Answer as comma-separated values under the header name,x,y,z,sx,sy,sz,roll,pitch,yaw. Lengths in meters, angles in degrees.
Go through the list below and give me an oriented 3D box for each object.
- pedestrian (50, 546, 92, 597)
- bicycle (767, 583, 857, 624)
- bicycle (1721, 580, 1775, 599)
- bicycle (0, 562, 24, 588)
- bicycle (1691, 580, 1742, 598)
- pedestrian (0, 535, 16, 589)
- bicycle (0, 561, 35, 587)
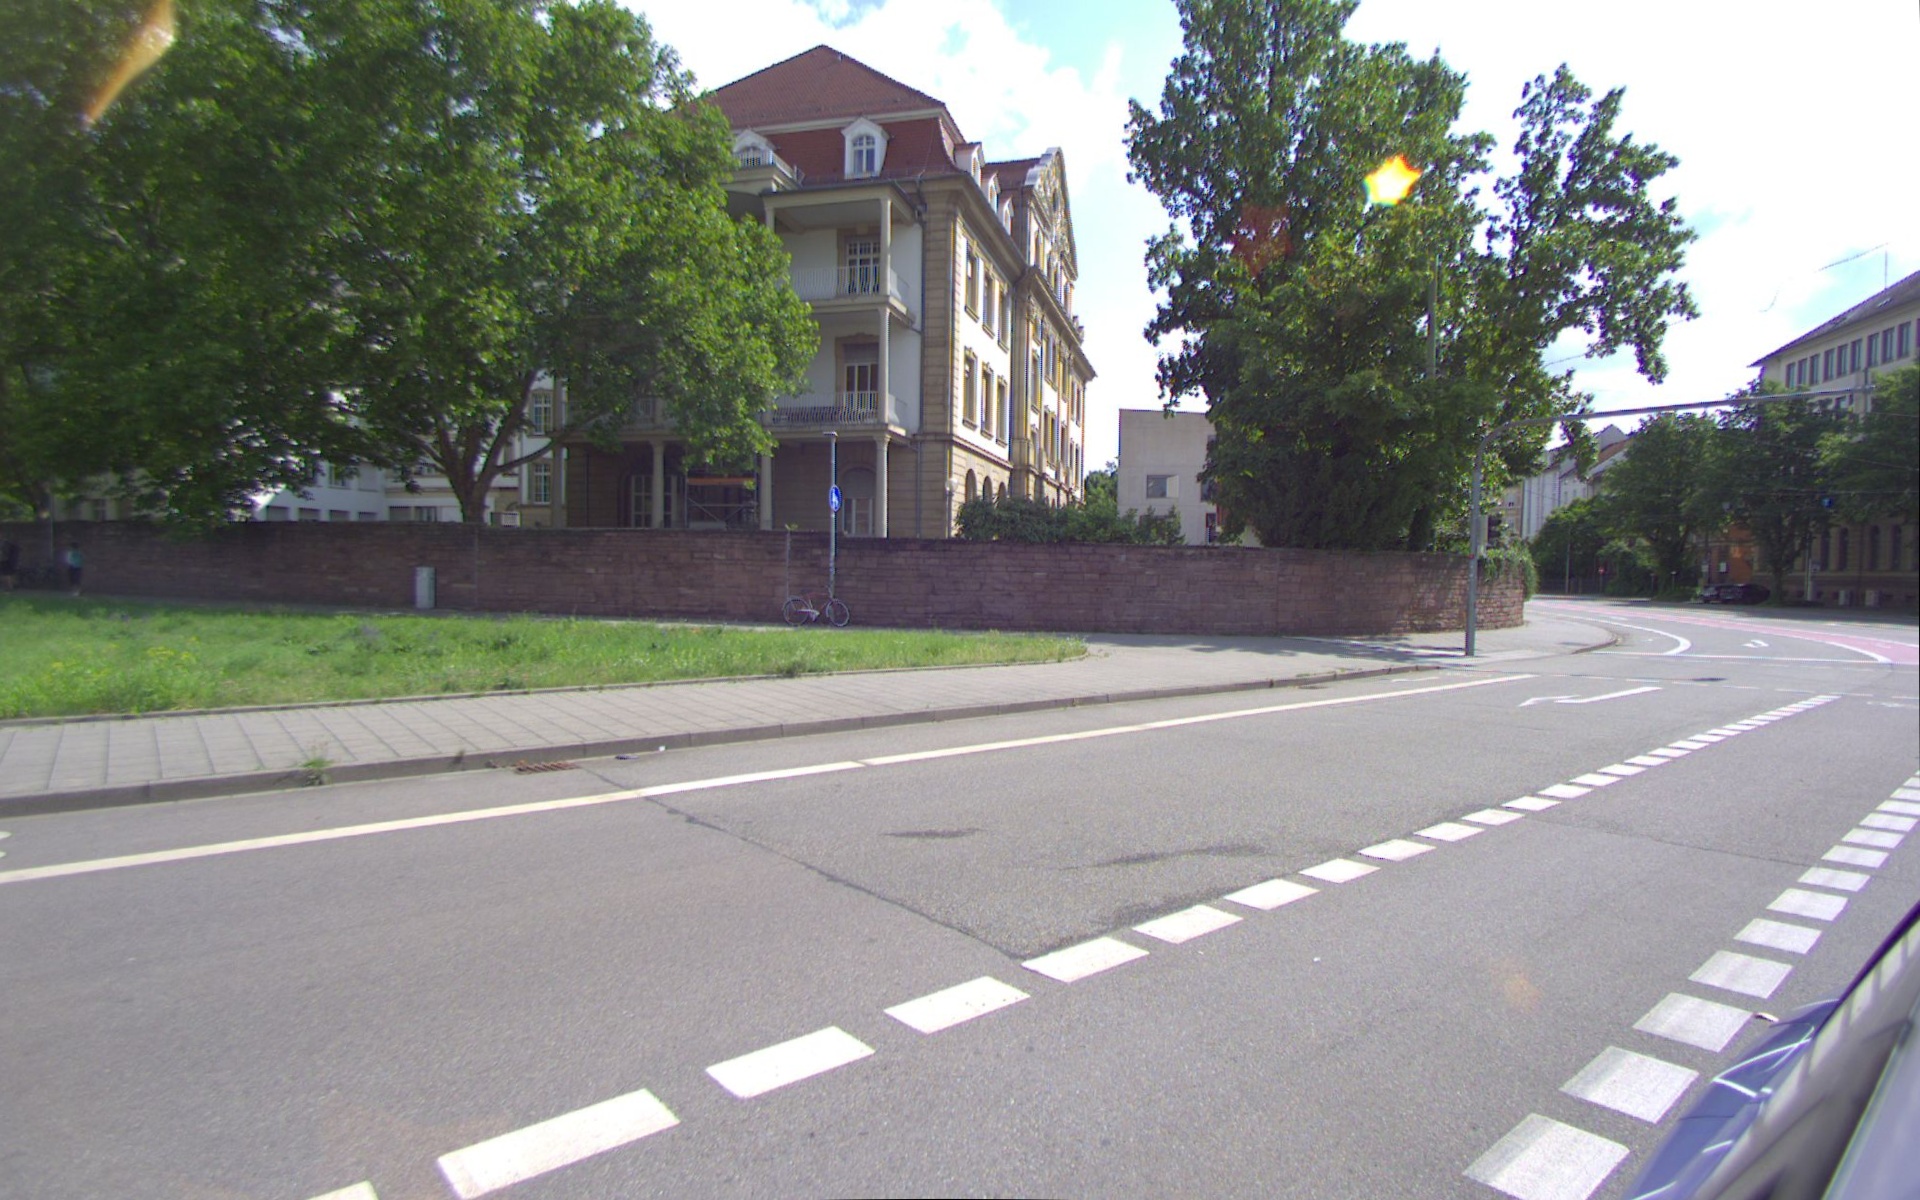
name,x,y,z,sx,sy,sz,roll,pitch,yaw
pedestrian,-27.320,-0.888,31.098,0.717,1.552,0.720,1,2,25
bicycle,-3.568,0.080,24.526,2.023,0.871,0.858,1,4,4
bicycle,57.185,-0.772,73.493,1.030,1.221,2.898,-4,4,-32
bicycle,-32.312,-0.843,34.144,0.478,0.859,0.964,2,2,28
bicycle,57.344,-0.817,76.757,1.053,1.221,2.898,-4,4,-32
pedestrian,-31.202,-1.240,32.833,0.737,1.744,0.656,2,2,31
bicycle,-31.686,-0.867,33.884,0.478,0.859,0.964,2,2,28
